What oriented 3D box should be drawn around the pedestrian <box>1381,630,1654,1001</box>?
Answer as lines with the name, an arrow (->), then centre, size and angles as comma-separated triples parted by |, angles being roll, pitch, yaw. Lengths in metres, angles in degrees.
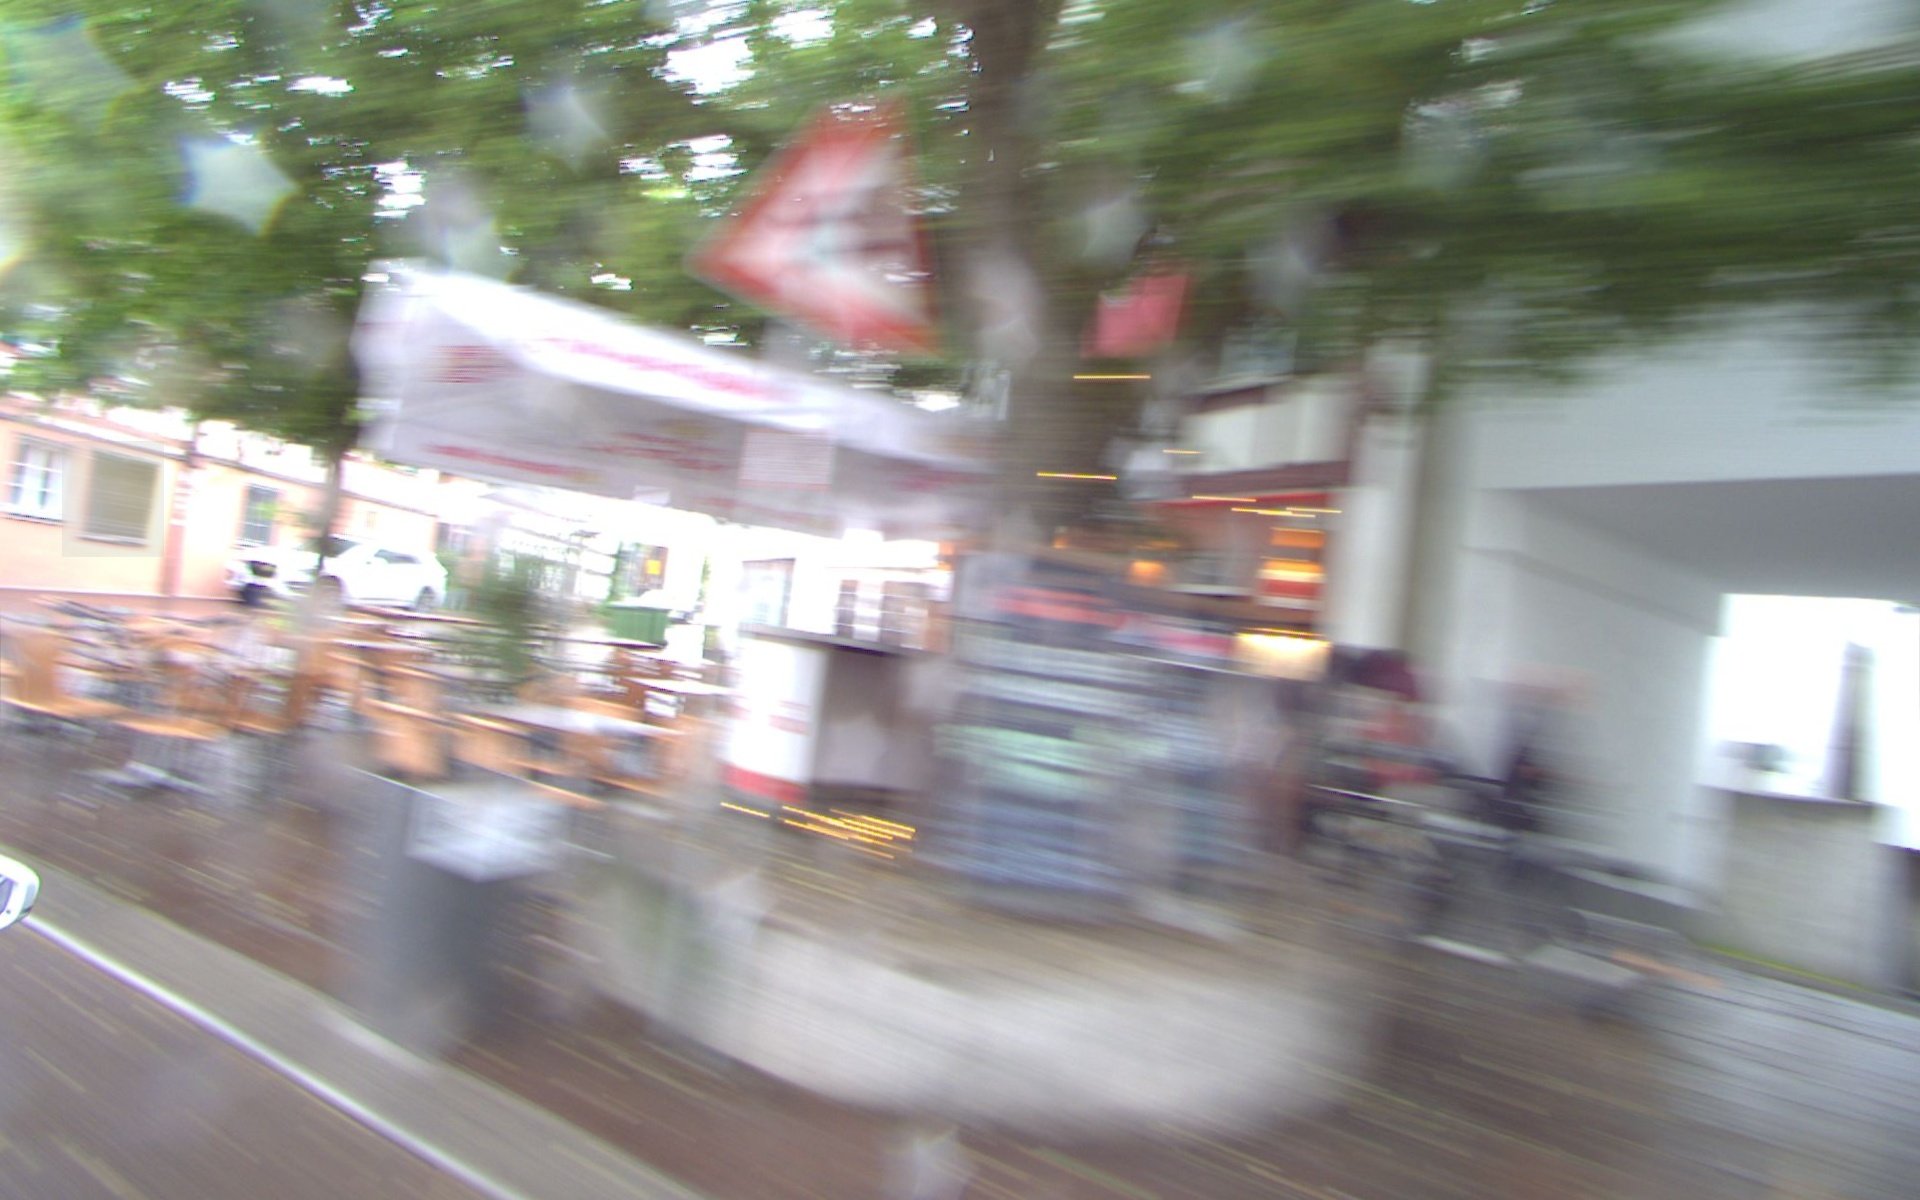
pedestrian -> 2.973, 1.080, 5.382 | 0.905, 1.718, 0.854 | 7, -2, -35

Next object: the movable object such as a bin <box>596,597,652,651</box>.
movable object such as a bin -> -7.831, 0.565, 23.470 | 0.841, 1.123, 0.881 | 6, -3, 5

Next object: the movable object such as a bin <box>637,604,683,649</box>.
movable object such as a bin -> -7.740, 0.682, 25.972 | 0.841, 1.037, 0.699 | 6, -3, 5

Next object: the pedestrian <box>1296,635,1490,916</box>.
pedestrian -> 3.032, 1.182, 7.032 | 0.878, 1.732, 0.884 | 4, -4, 42

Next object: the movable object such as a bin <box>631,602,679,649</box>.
movable object such as a bin -> -7.625, 0.642, 25.198 | 0.841, 1.037, 0.699 | 6, -3, 5

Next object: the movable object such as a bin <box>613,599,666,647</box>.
movable object such as a bin -> -7.760, 0.562, 24.374 | 0.841, 1.033, 0.832 | 6, -3, 5

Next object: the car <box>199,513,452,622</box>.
car -> -13.268, -0.576, 21.480 | 1.963, 1.651, 4.621 | 9, -2, 6

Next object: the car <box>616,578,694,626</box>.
car -> -13.020, 0.124, 43.226 | 1.965, 1.651, 4.615 | 9, -2, -3

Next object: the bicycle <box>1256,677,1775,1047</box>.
bicycle -> 2.868, 1.243, 5.489 | 0.919, 1.366, 2.196 | 7, -1, -35
